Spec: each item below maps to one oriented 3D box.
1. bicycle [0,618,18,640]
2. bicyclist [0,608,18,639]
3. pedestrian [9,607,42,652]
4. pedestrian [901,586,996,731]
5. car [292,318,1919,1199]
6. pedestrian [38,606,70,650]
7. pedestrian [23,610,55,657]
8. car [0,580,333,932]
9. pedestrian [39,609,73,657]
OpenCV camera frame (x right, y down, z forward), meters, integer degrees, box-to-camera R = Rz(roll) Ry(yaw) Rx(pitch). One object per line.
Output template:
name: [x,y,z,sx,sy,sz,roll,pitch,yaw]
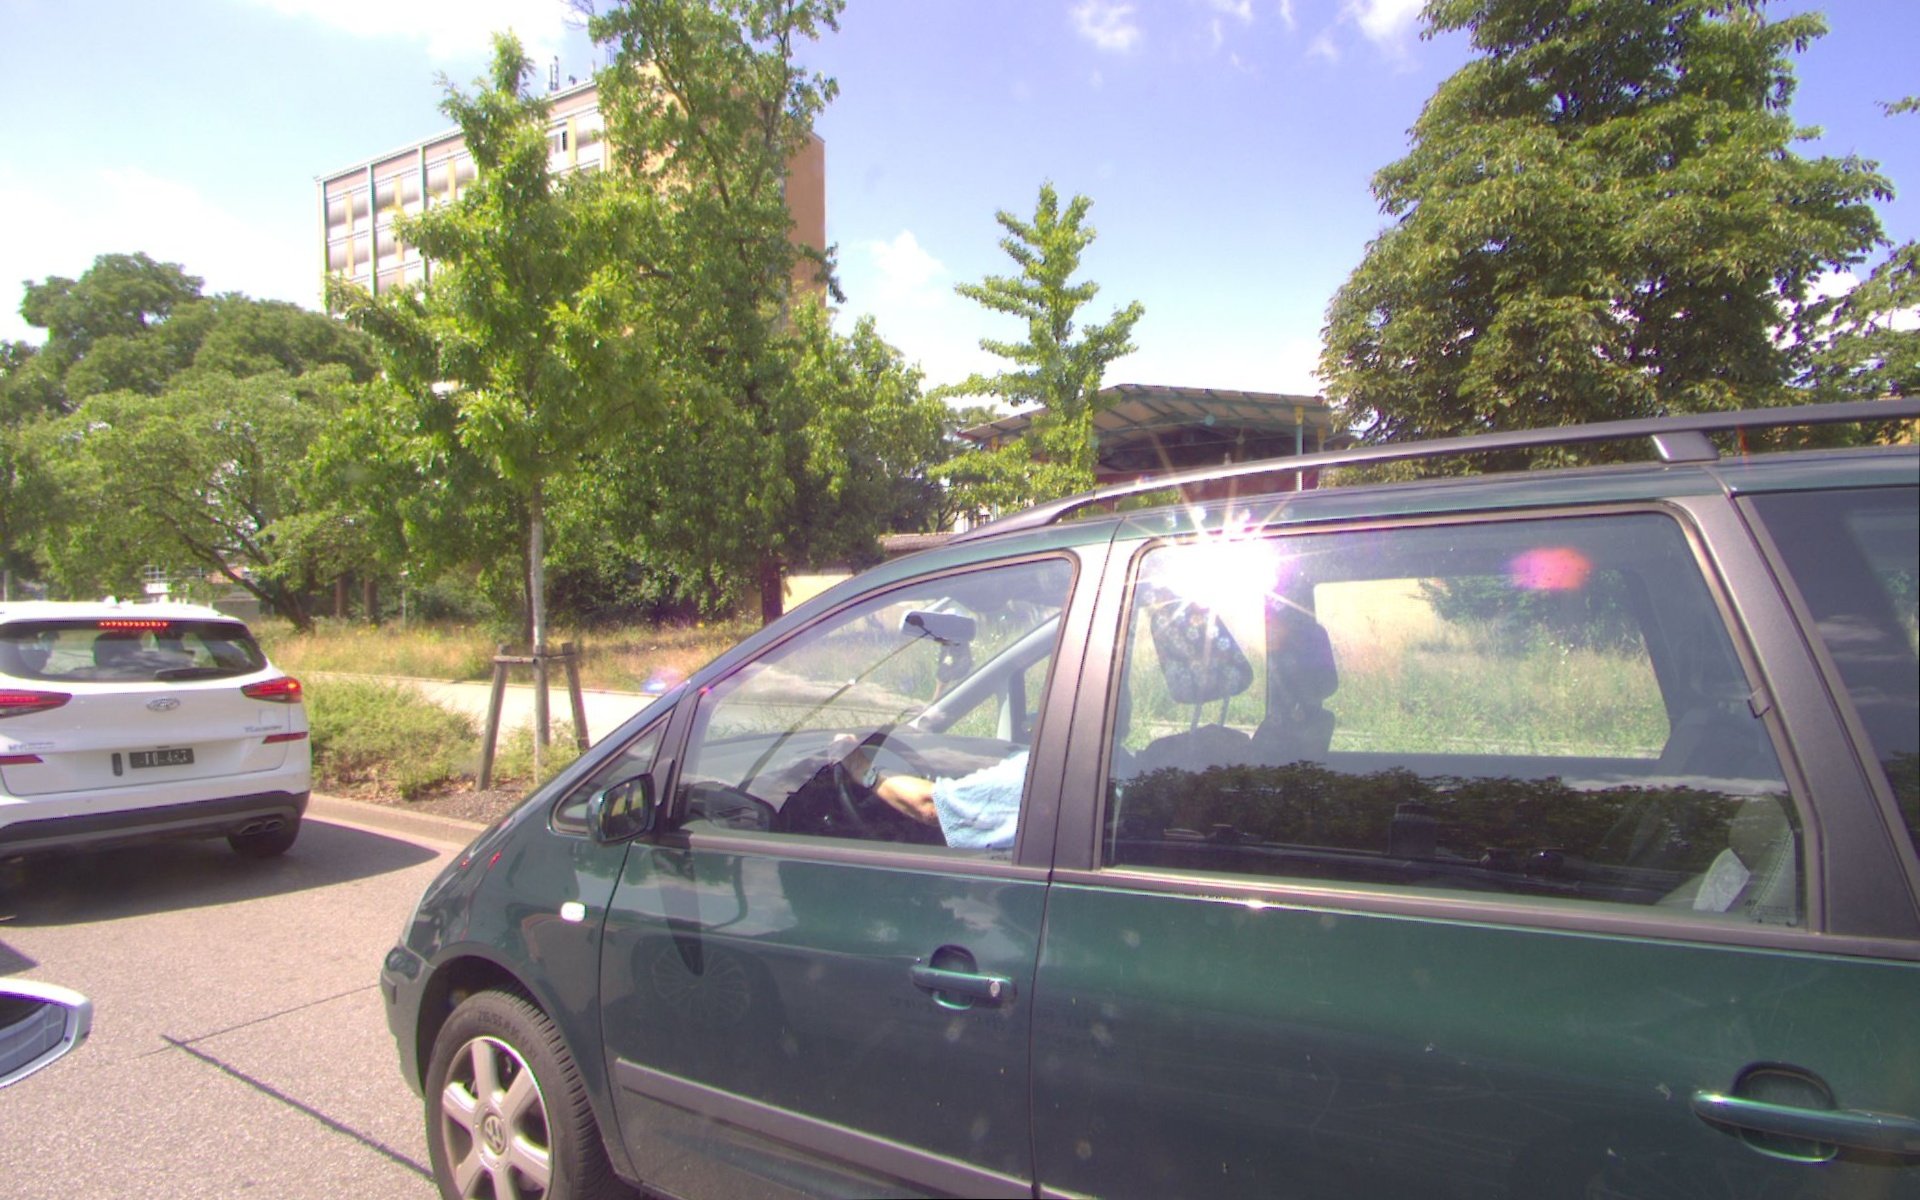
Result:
bicycle: [-69.173,2.076,72.438,1.415,1.483,4.270,0,0,-42]
bicyclist: [-69.220,1.704,72.482,1.422,2.200,1.326,-1,1,-43]
pedestrian: [-39.761,1.233,42.615,0.802,1.874,0.759,0,1,22]
pedestrian: [-0.129,0.640,11.466,0.805,1.577,0.757,0,0,34]
car: [0.548,0.631,2.273,4.329,1.737,1.799,0,-2,32]
pedestrian: [-39.433,1.202,43.567,0.803,1.874,0.759,0,1,24]
pedestrian: [-37.154,1.332,40.396,0.805,1.874,0.757,0,1,34]
car: [-5.941,0.770,6.443,3.919,1.700,1.810,0,0,34]
pedestrian: [-32.170,1.177,35.642,0.805,1.677,0.756,0,1,36]
